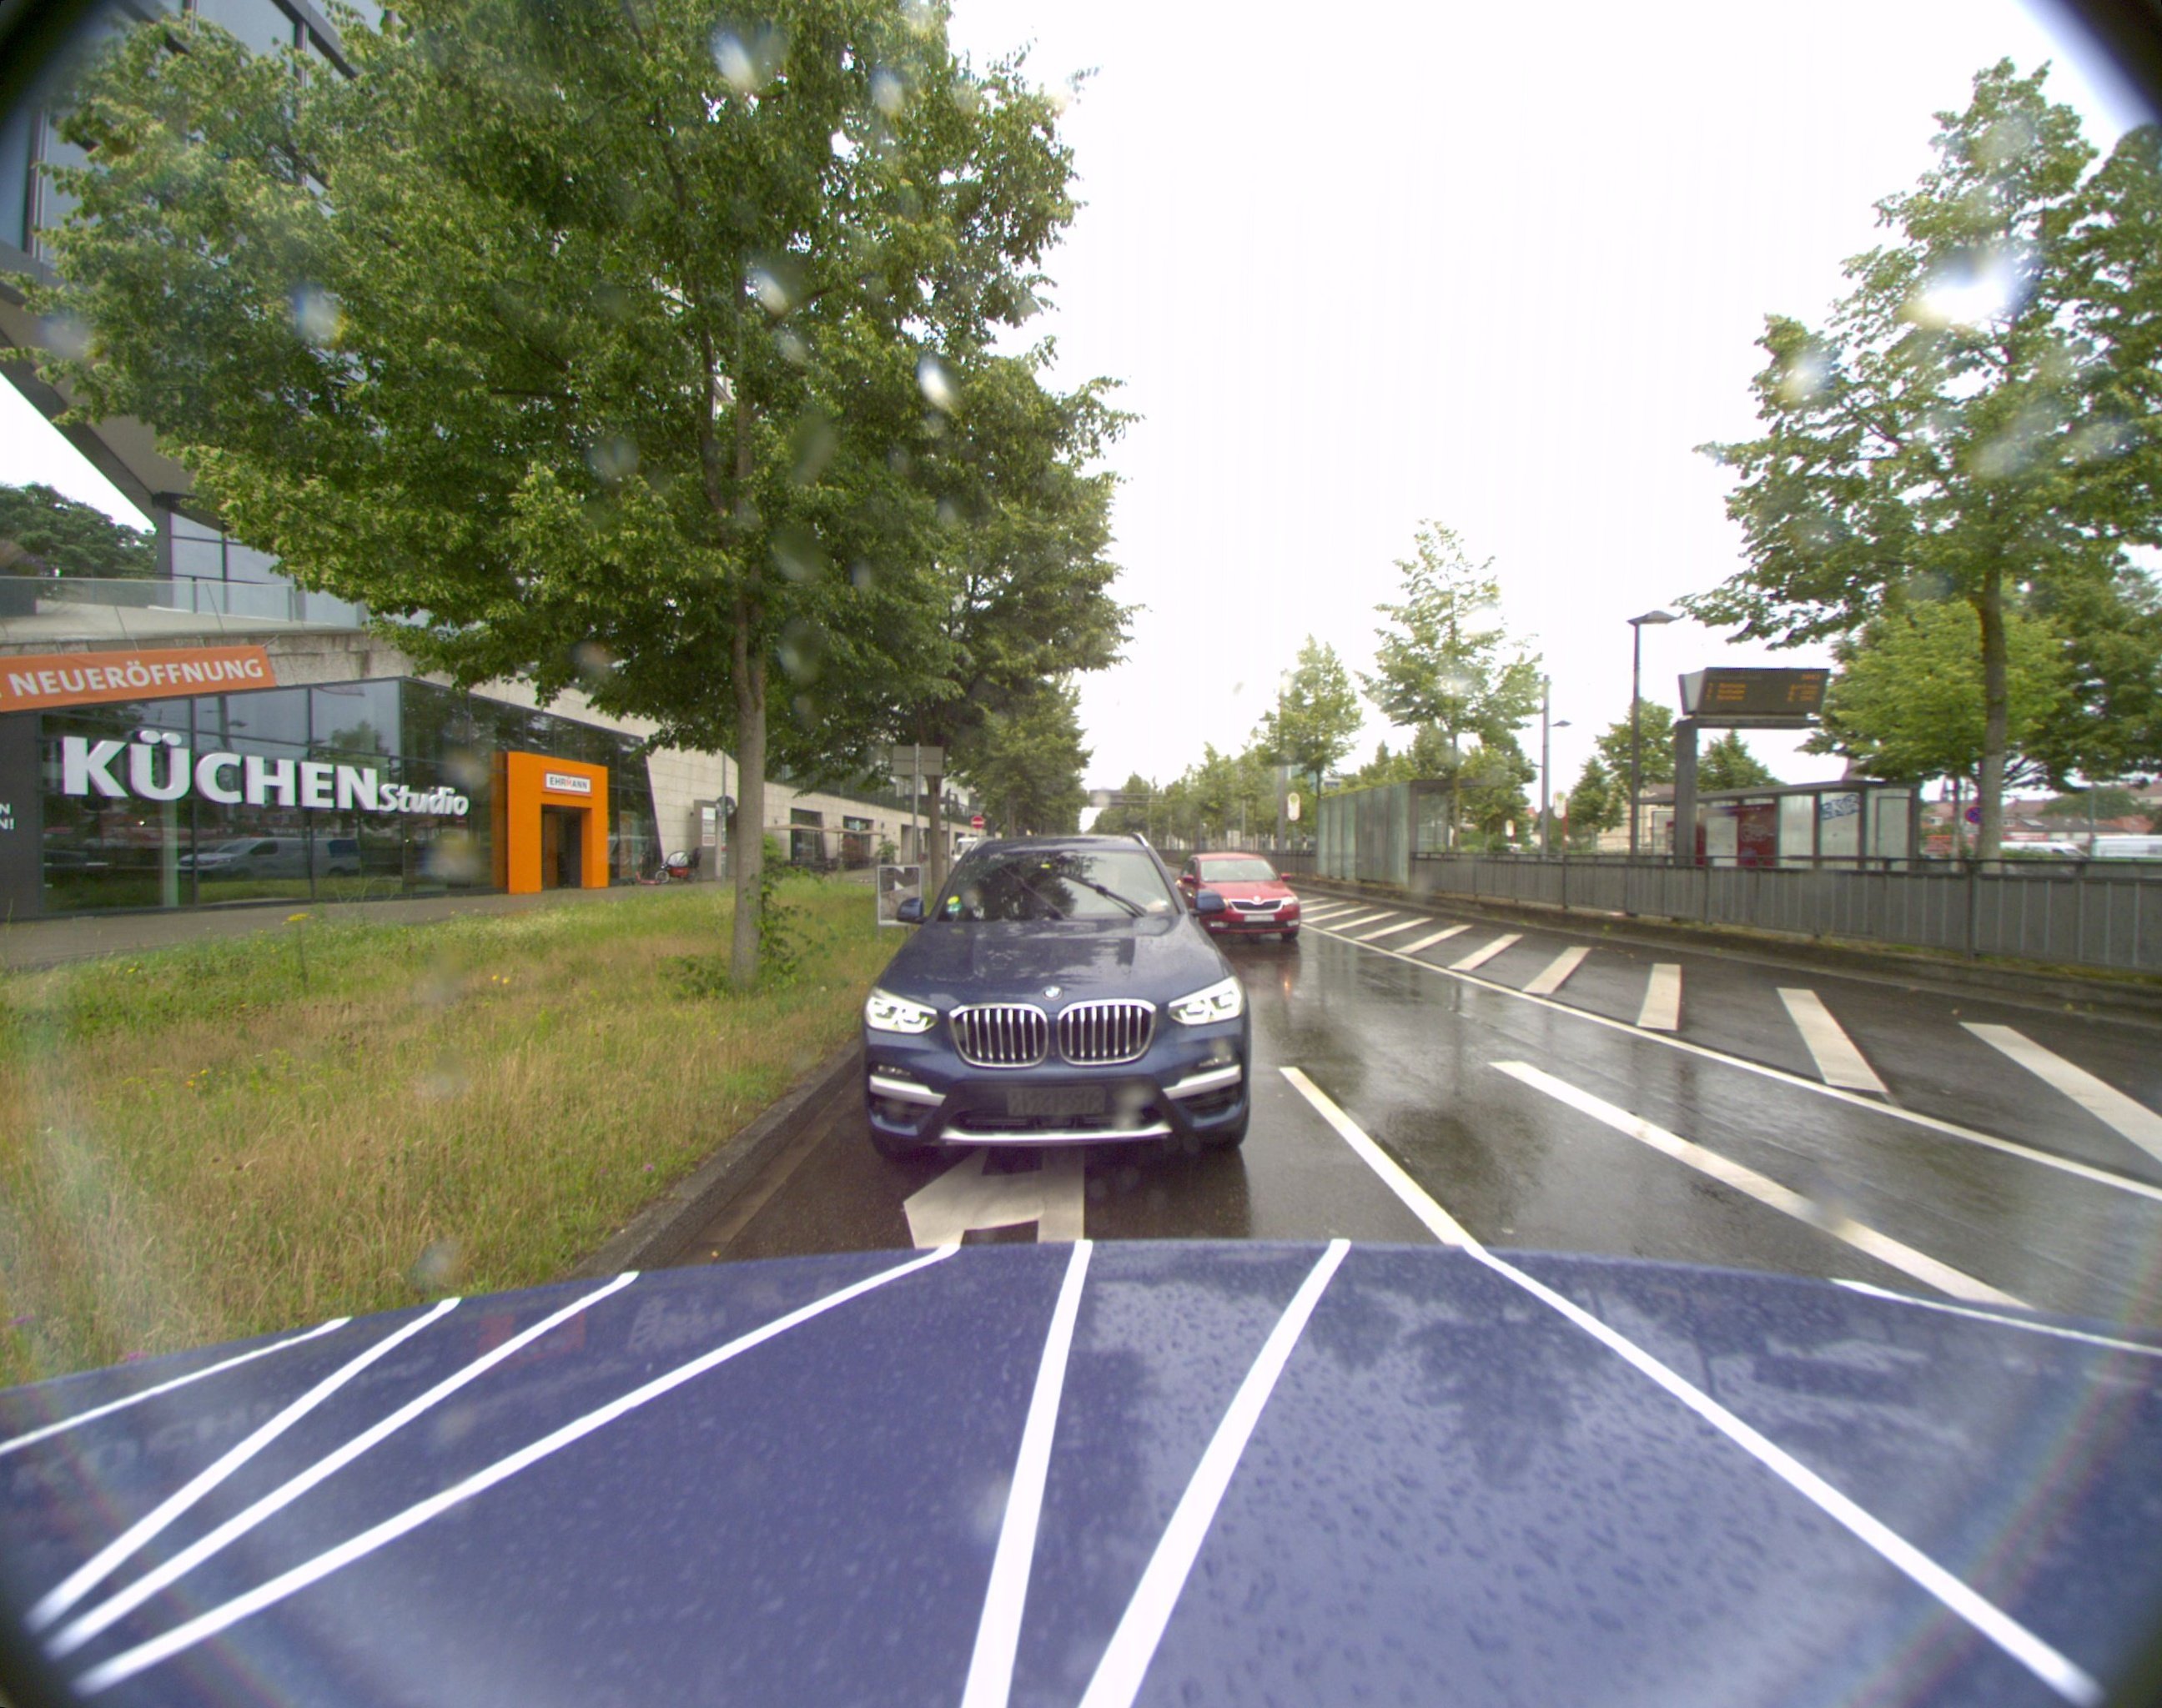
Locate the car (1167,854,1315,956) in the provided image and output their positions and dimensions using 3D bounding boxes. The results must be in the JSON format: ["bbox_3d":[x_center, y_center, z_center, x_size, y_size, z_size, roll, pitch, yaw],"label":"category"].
[{"bbox_3d":[2.698,0.788,13.829,1.788,1.451,4.314,-2,1,1],"label":"car"}]

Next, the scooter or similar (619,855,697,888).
[{"bbox_3d":[-15.633,0.621,28.159,0.810,1.093,2.617,-2,1,18],"label":"scooter or similar"}]

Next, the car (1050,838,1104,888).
[{"bbox_3d":[-0.101,0.285,27.792,1.788,1.638,3.999,-2,1,1],"label":"car"}]

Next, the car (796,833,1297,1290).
[{"bbox_3d":[-0.109,0.851,5.190,1.916,1.736,4.384,-2,-1,1],"label":"car"}]

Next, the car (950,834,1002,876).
[{"bbox_3d":[-5.886,0.031,43.307,2.084,2.189,5.096,-2,1,1],"label":"car"}]

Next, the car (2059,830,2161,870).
[{"bbox_3d":[70.145,-0.288,49.654,2.356,2.462,7.636,-2,1,-3],"label":"car"}]

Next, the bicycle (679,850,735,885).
[{"bbox_3d":[-15.293,0.515,31.176,0.882,1.339,2.696,-2,1,1],"label":"bicycle"}]
